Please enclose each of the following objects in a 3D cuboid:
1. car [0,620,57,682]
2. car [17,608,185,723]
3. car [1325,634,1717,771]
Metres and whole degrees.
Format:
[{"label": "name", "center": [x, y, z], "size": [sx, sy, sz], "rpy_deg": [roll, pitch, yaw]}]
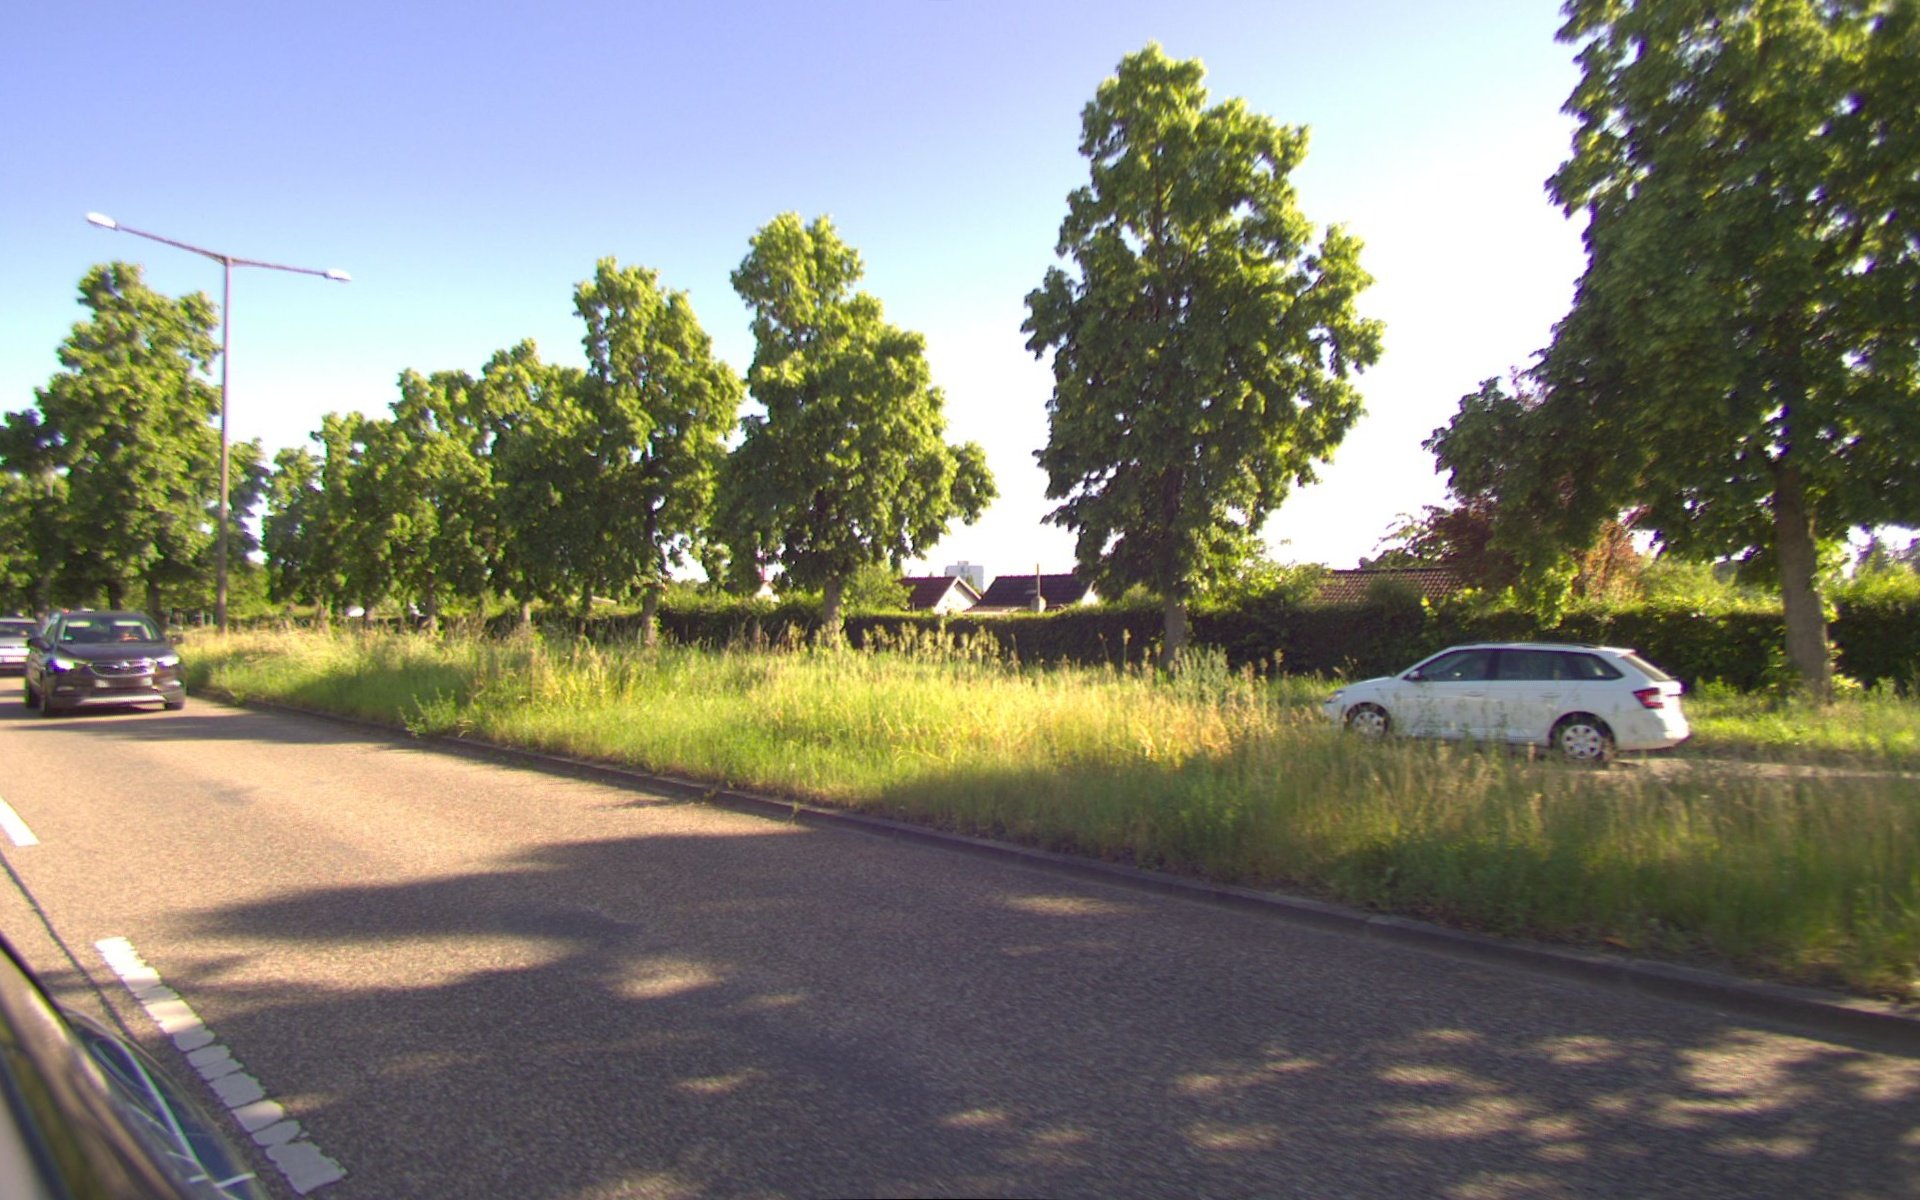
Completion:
[{"label": "car", "center": [-26.389, 1.369, 27.887], "size": [4.091, 1.626, 1.806], "rpy_deg": [-1, -2, 42]}, {"label": "car", "center": [-14.241, 0.991, 16.720], "size": [3.856, 1.675, 1.691], "rpy_deg": [-1, -1, 43]}, {"label": "car", "center": [7.076, 1.214, 13.044], "size": [4.177, 1.478, 1.652], "rpy_deg": [-1, -5, 41]}]
